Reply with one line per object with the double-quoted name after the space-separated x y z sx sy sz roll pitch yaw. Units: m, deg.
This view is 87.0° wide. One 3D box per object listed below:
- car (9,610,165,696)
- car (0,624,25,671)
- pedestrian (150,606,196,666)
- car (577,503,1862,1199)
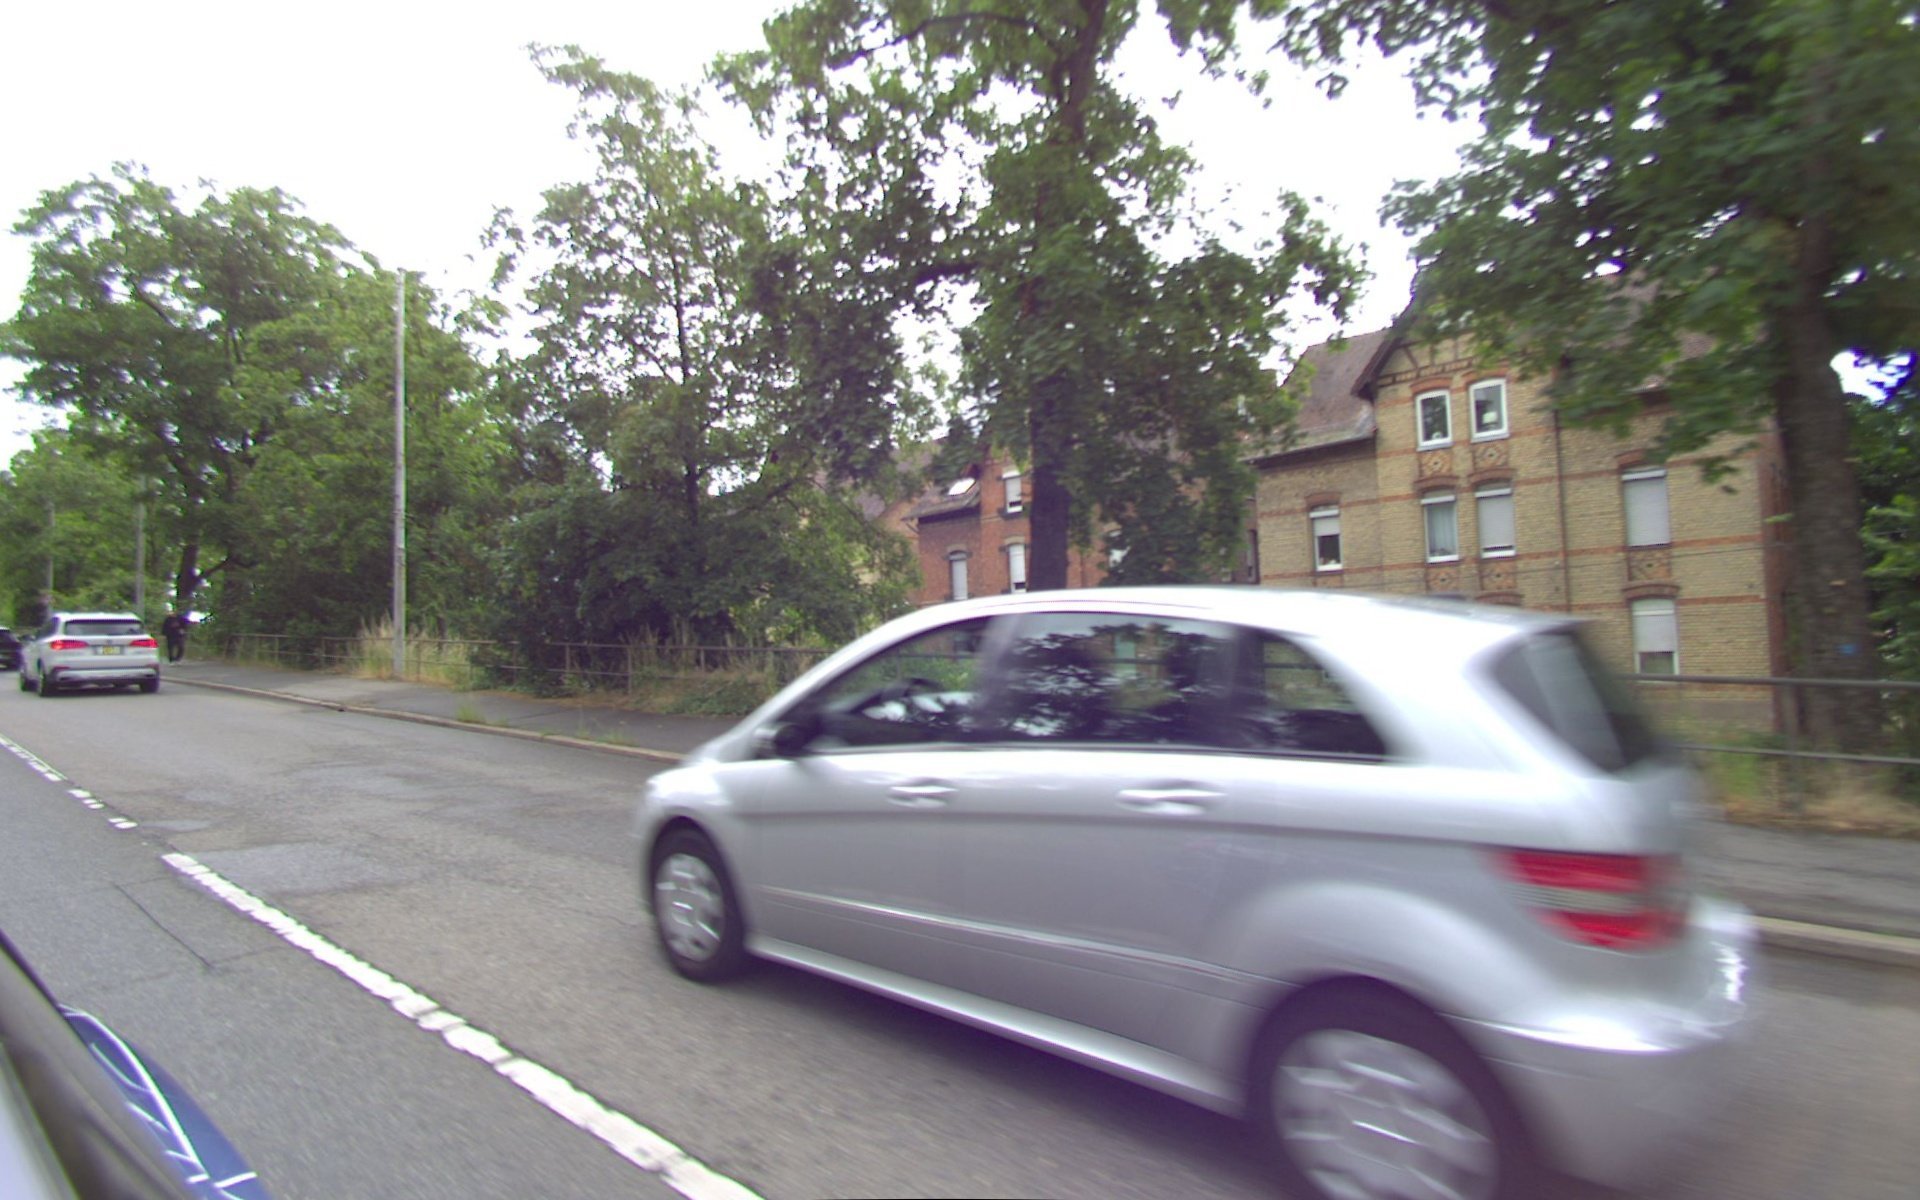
-19.286 1.115 22.291 4.661 1.696 1.974 -2 -2 42 "car"
-31.642 1.517 32.643 4.136 1.438 1.695 -1 -2 40 "car"
-24.340 1.108 31.304 1.207 1.787 0.781 -2 1 39 "pedestrian"
0.480 0.673 3.801 4.278 1.586 1.765 -1 -2 41 "car"
